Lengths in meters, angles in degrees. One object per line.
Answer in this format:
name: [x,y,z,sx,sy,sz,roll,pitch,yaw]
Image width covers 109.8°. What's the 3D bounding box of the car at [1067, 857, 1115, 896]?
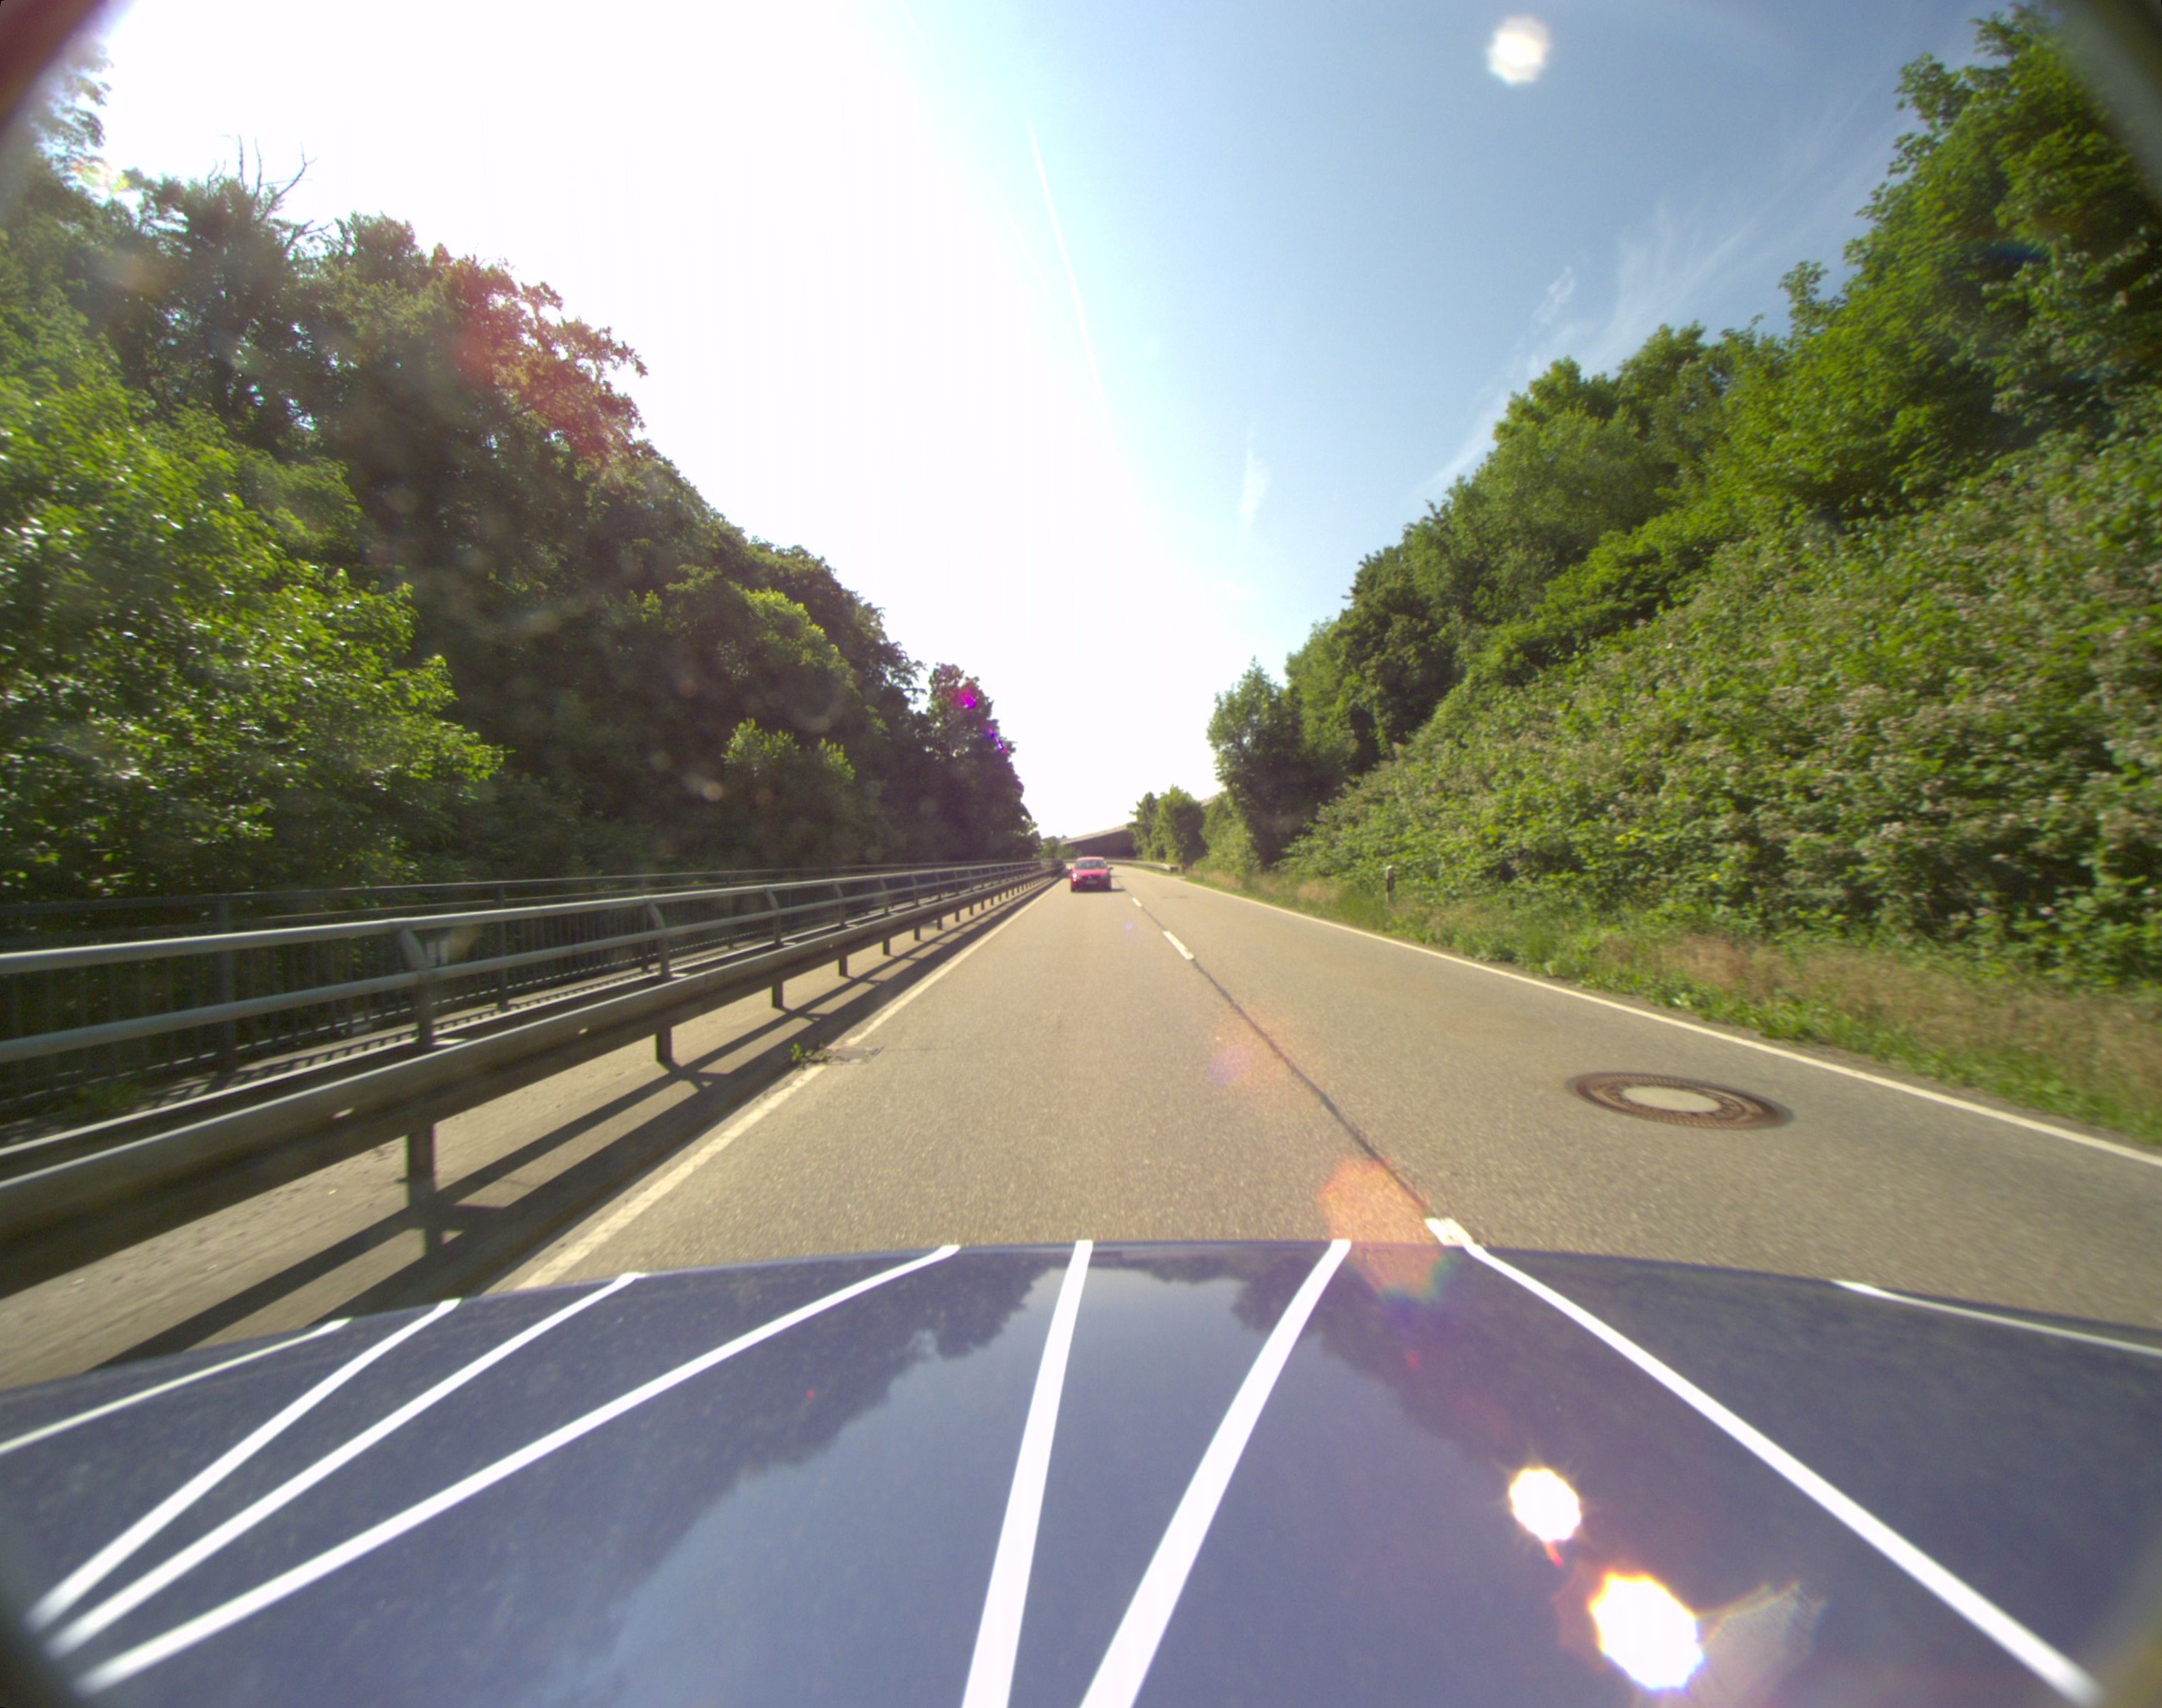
car: [0.498,0.888,32.093,1.816,1.488,4.287,-2,0,3]
